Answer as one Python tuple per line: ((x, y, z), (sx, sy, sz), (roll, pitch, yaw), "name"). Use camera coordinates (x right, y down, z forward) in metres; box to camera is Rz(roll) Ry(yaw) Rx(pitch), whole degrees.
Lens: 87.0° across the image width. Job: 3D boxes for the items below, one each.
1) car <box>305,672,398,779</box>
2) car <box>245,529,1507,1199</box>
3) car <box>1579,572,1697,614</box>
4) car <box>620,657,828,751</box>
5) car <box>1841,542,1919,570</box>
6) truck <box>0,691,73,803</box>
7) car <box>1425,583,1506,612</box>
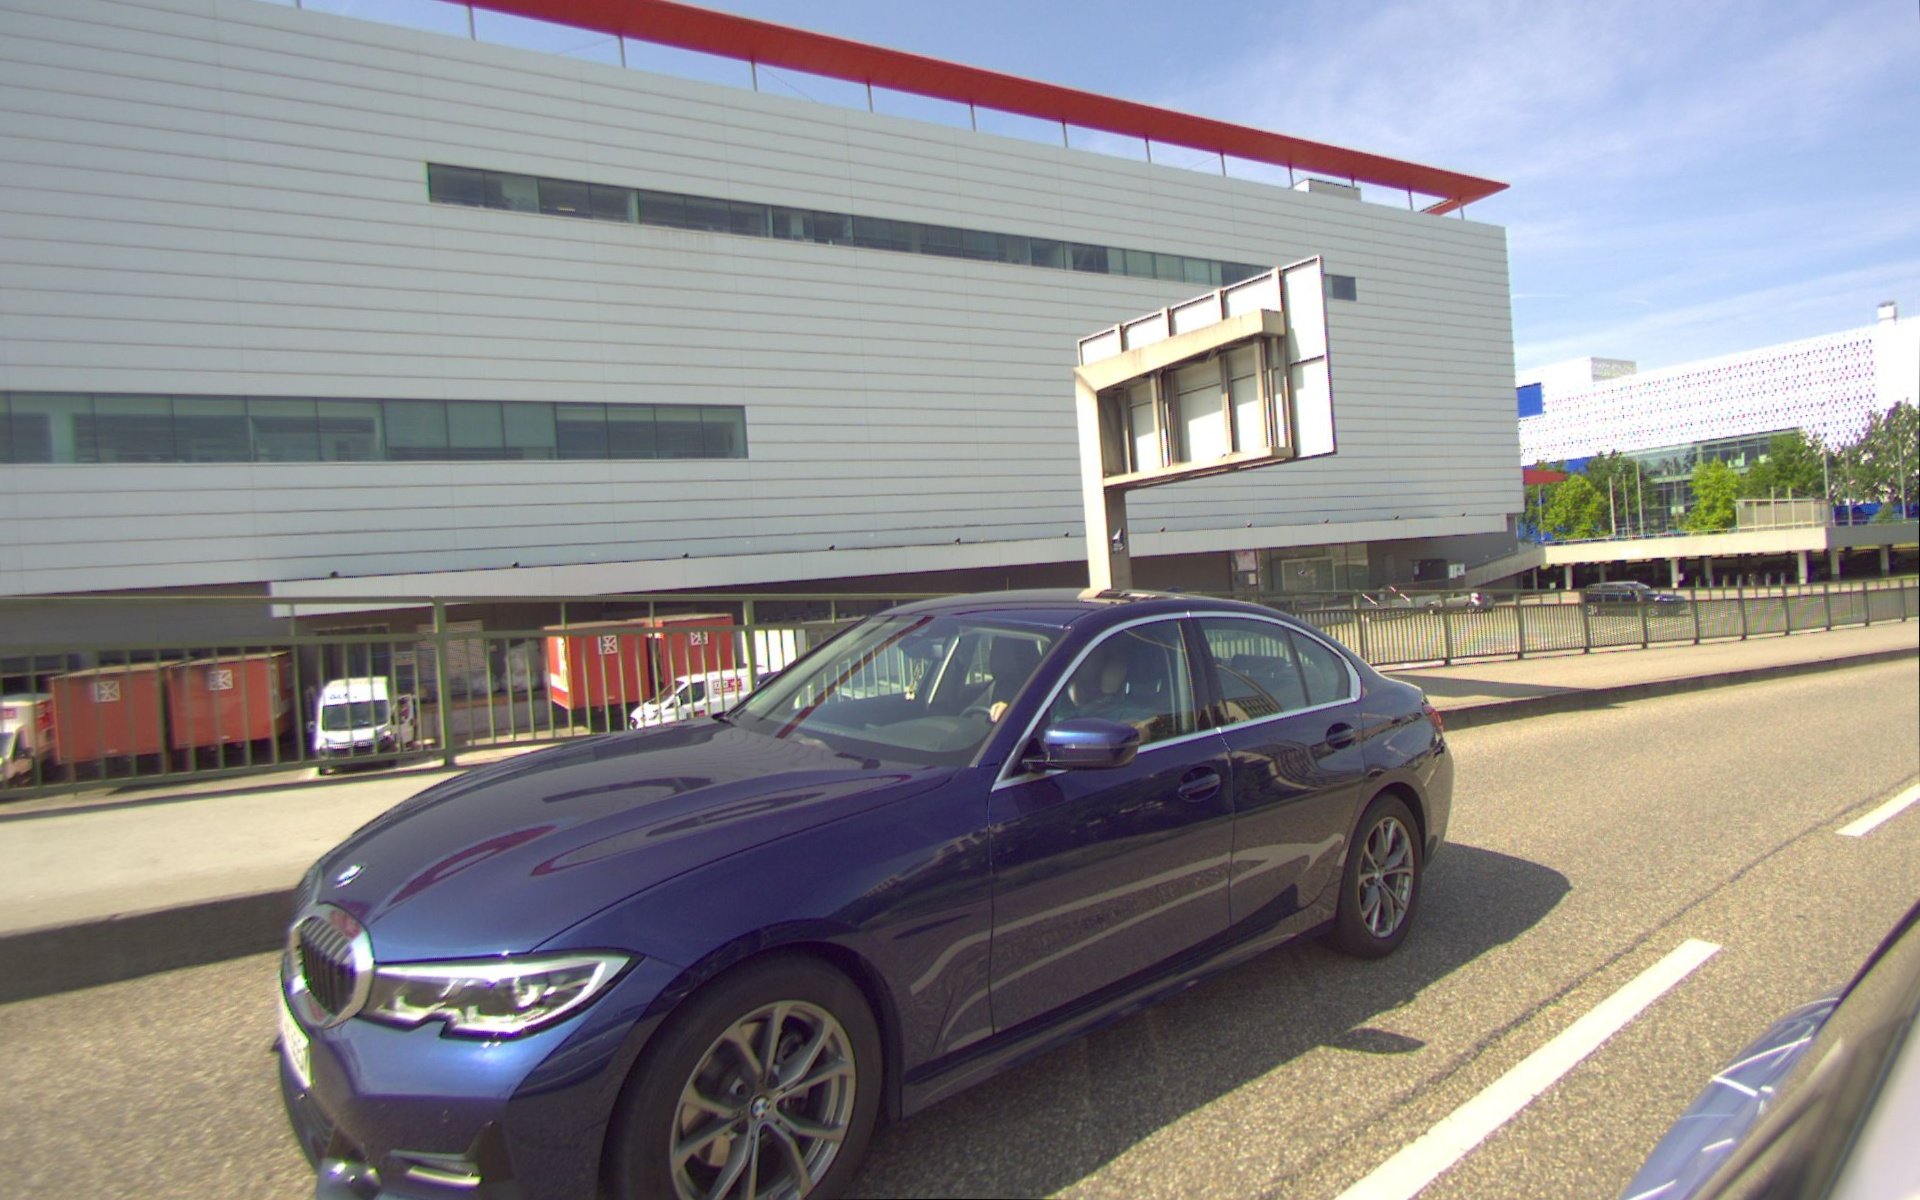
((-18.983, 3.774, 31.804), (2.090, 2.653, 6.017), (-4, 0, -29), "car")
((0.163, 0.620, 3.796), (4.443, 1.501, 1.790), (-5, 1, -41), "car")
((32.698, -0.293, 48.947), (1.824, 1.753, 4.426), (-5, 0, -20), "car")
((-7.353, 3.162, 31.696), (5.894, 2.029, 2.134), (-5, 2, -29), "car")
((71.267, -3.398, 78.254), (1.962, 1.857, 4.317), (-2, 0, -35), "car")
((-30.308, 4.604, 31.703), (2.089, 2.963, 6.019), (-4, 0, -26), "truck")
((29.631, -0.118, 59.396), (1.775, 1.393, 3.871), (-3, -1, -29), "car")
